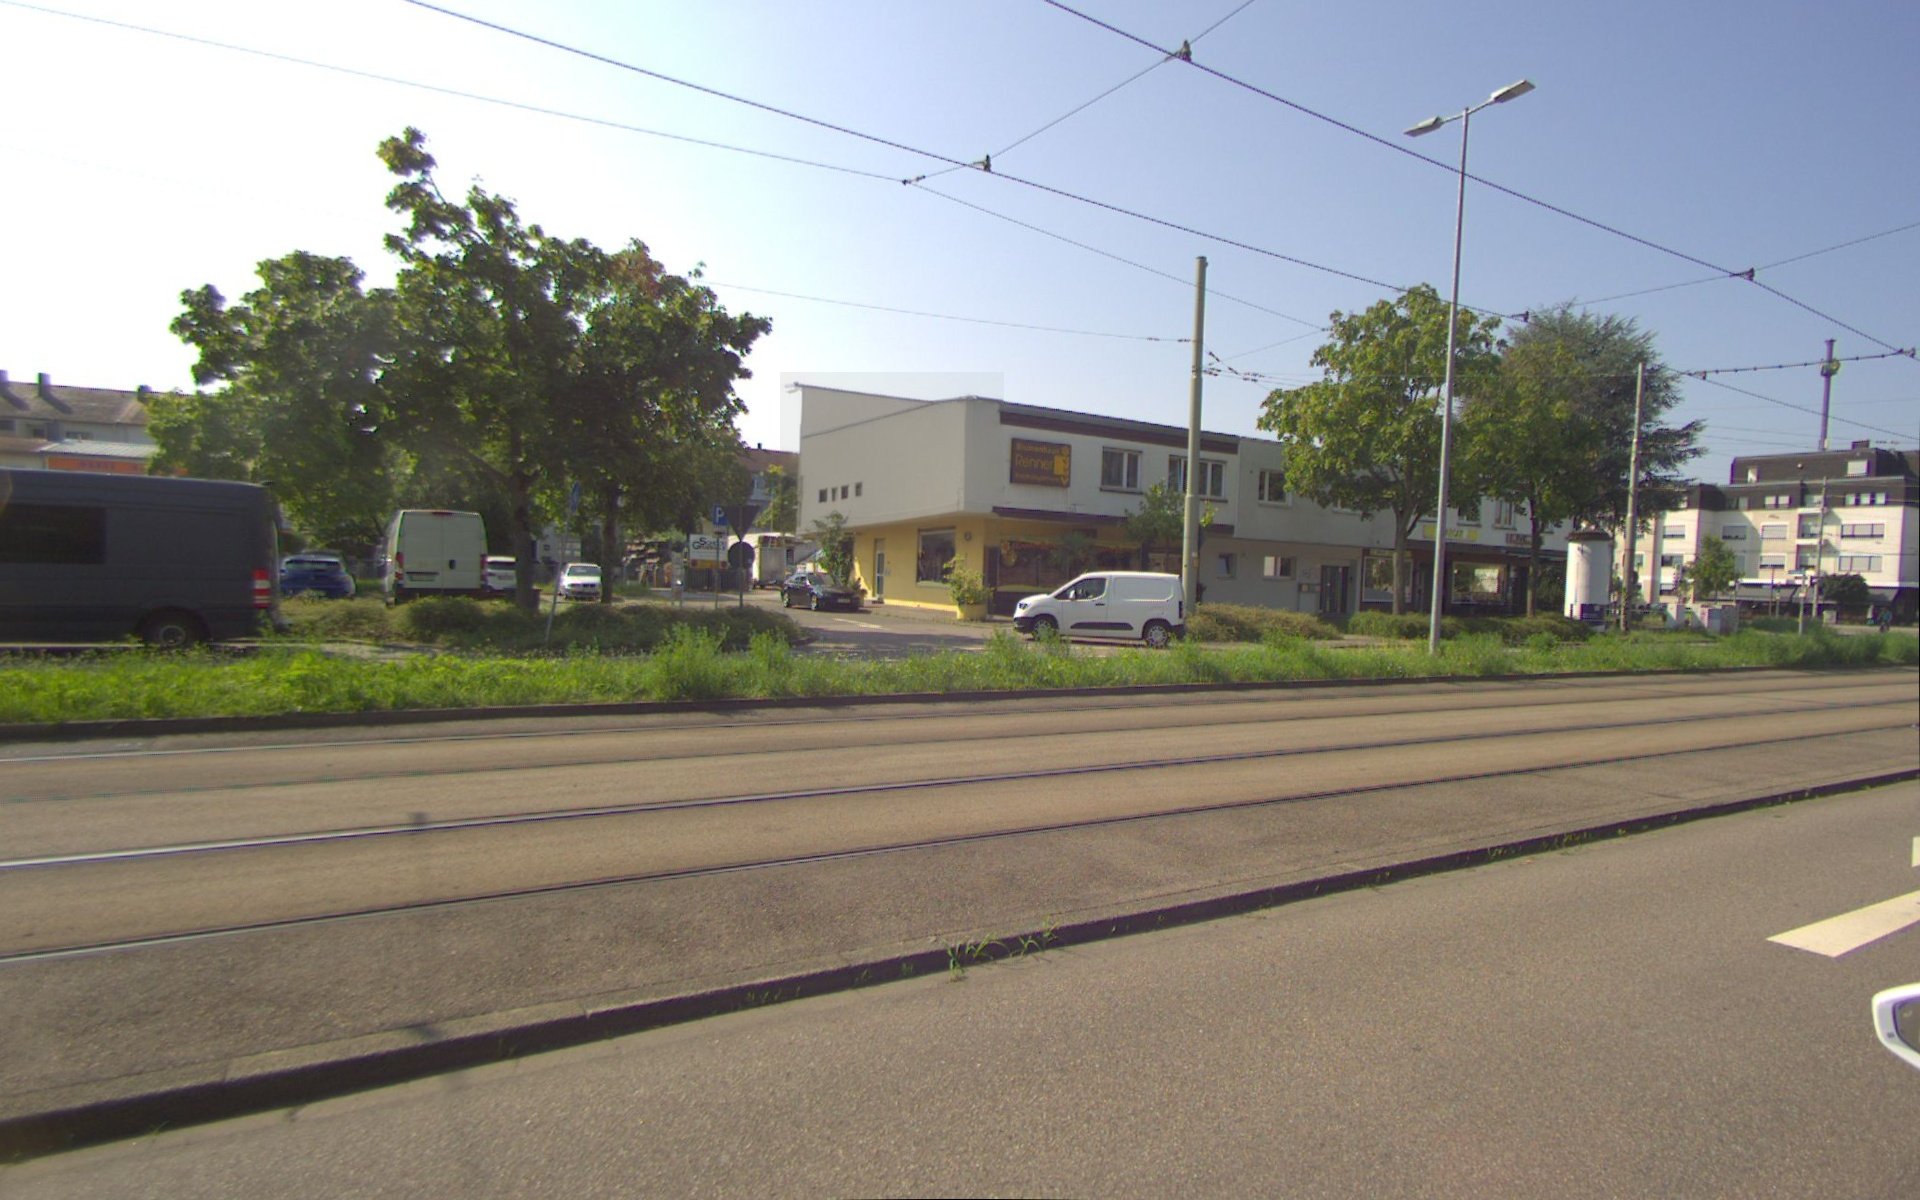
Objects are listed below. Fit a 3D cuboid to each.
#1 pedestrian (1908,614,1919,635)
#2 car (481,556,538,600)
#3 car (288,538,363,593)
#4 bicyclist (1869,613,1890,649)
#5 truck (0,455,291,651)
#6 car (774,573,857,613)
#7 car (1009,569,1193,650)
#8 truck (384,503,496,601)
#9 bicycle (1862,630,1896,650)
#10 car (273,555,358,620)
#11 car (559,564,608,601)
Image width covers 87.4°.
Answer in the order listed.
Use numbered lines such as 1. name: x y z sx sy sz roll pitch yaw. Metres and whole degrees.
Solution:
1. pedestrian: 81.081 2.053 85.264 0.689 1.764 0.676 2 0 -29
2. car: -17.212 -0.818 38.270 1.852 1.522 3.435 2 0 -26
3. car: -22.696 -1.182 36.032 1.734 1.792 3.792 2 0 -25
4. bicyclist: 53.222 1.796 58.134 0.764 2.092 0.635 2 0 -27
5. truck: -13.030 -0.627 14.300 5.674 2.582 2.070 2 0 -31
6. car: -5.415 -0.285 37.353 1.596 1.361 3.890 1 2 -32
7. car: 3.549 0.204 25.201 4.330 1.782 1.991 2 1 10
8. truck: -13.676 -1.138 26.228 2.234 2.202 5.461 2 0 -31
9. bicycle: 53.195 2.322 58.133 2.236 1.106 0.712 2 0 -27
10. car: -15.699 -0.303 24.597 1.615 1.445 3.386 2 0 -31
11. car: -14.939 -0.709 39.757 1.471 1.361 3.519 1 1 -26
